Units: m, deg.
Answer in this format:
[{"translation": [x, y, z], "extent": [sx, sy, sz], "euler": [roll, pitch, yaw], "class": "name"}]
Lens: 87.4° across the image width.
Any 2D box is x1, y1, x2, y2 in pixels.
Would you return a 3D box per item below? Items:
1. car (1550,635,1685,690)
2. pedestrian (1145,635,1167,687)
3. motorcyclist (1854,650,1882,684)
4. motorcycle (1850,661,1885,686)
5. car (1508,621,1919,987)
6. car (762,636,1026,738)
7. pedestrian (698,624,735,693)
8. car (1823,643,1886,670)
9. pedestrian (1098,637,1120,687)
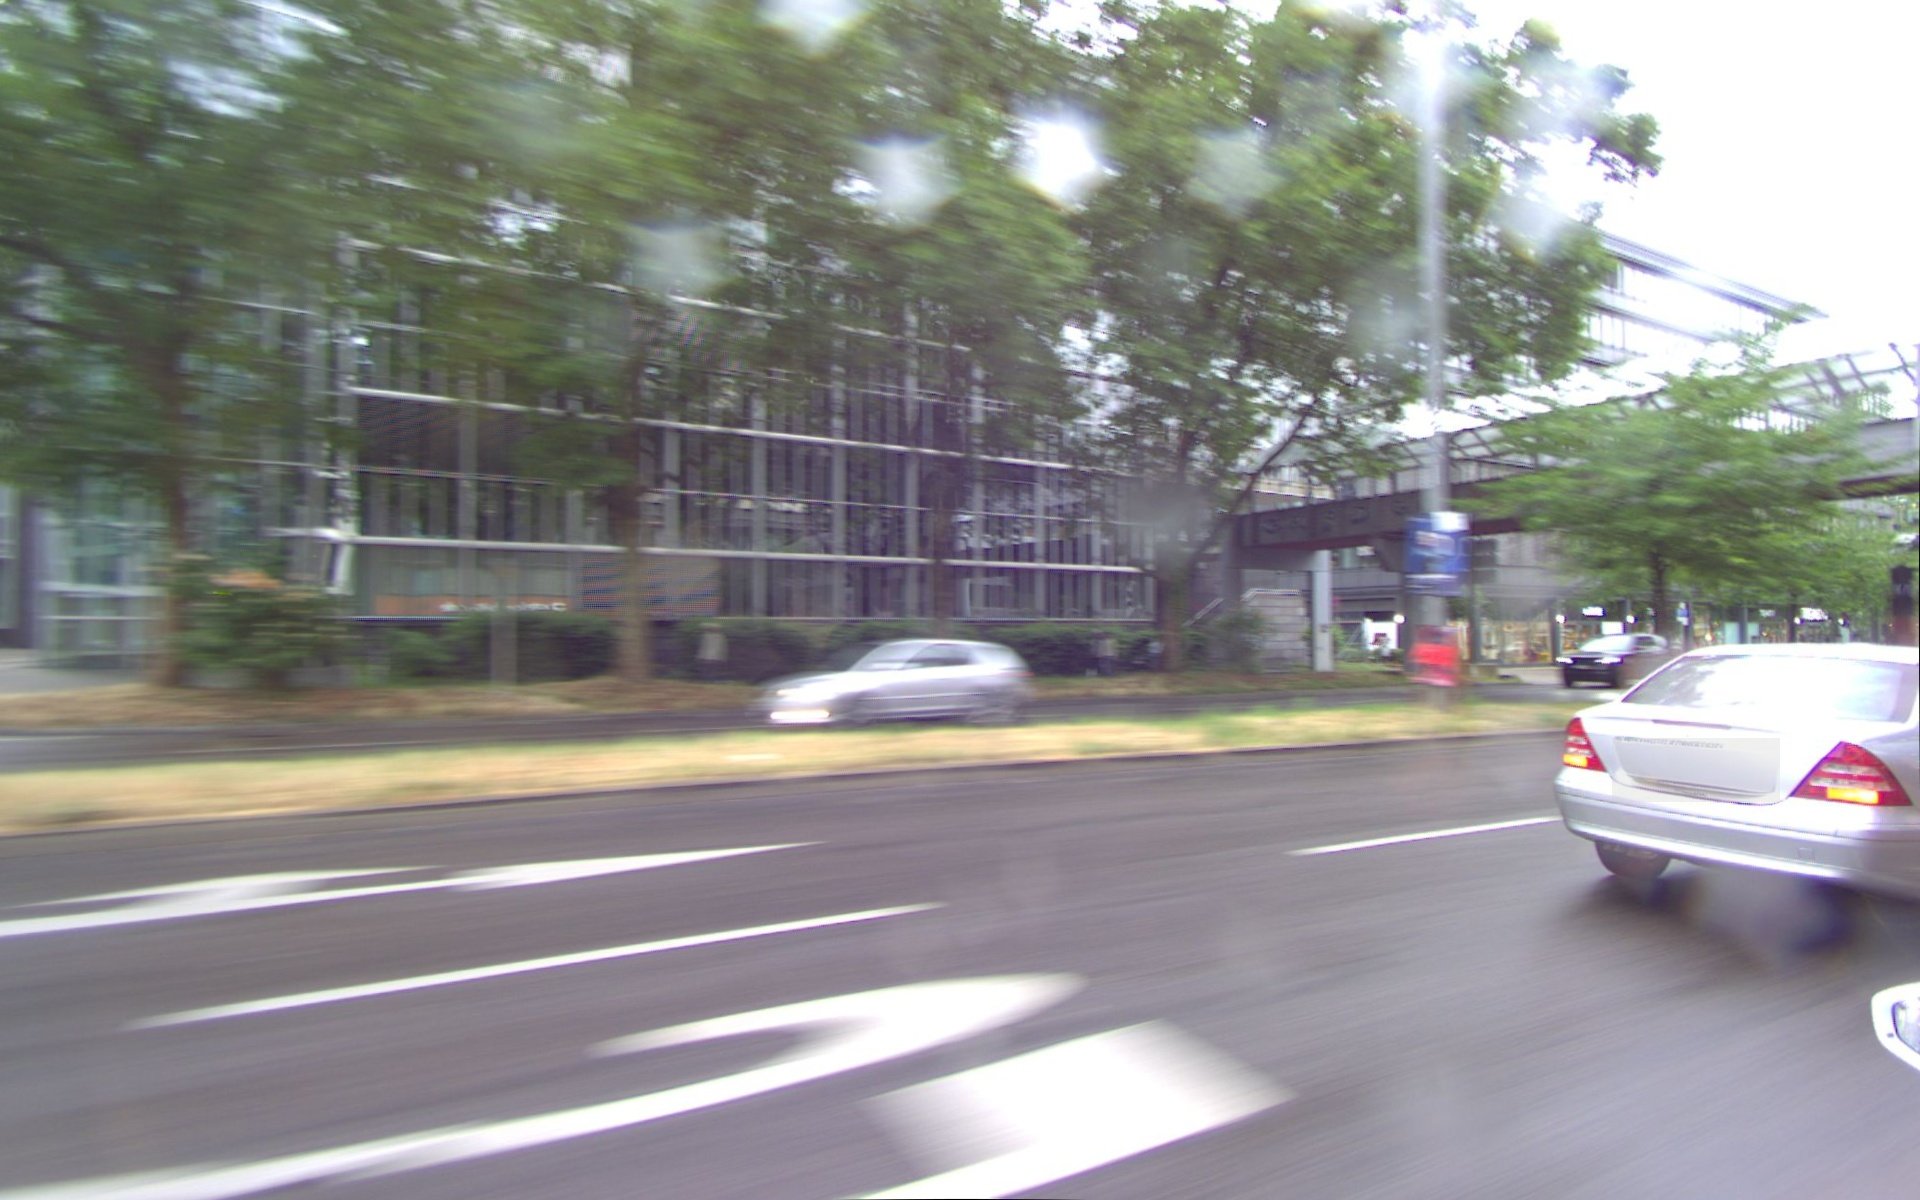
[{"translation": [23.226, 2.222, 35.435], "extent": [5.129, 1.791, 1.990], "euler": [2, -5, -33], "class": "car"}, {"translation": [6.903, 2.141, 35.400], "extent": [0.505, 1.831, 0.603], "euler": [1, -1, -30], "class": "pedestrian"}, {"translation": [38.814, 2.861, 42.932], "extent": [0.958, 1.437, 0.635], "euler": [3, -3, -30], "class": "motorcyclist"}, {"translation": [38.777, 3.119, 42.906], "extent": [1.784, 1.035, 0.582], "euler": [2, -2, -30], "class": "motorcycle"}, {"translation": [5.367, 0.959, 5.995], "extent": [4.309, 1.498, 1.665], "euler": [3, -2, -30], "class": "car"}, {"translation": [-1.030, 1.392, 16.461], "extent": [4.035, 1.483, 1.654], "euler": [2, -4, -31], "class": "car"}, {"translation": [-6.597, 1.564, 27.174], "extent": [0.793, 1.831, 0.731], "euler": [1, -1, -30], "class": "pedestrian"}, {"translation": [52.000, 3.306, 58.376], "extent": [4.397, 1.451, 1.615], "euler": [3, -3, -32], "class": "car"}, {"translation": [5.129, 2.126, 34.637], "extent": [0.505, 1.708, 0.557], "euler": [1, -1, -30], "class": "pedestrian"}]
